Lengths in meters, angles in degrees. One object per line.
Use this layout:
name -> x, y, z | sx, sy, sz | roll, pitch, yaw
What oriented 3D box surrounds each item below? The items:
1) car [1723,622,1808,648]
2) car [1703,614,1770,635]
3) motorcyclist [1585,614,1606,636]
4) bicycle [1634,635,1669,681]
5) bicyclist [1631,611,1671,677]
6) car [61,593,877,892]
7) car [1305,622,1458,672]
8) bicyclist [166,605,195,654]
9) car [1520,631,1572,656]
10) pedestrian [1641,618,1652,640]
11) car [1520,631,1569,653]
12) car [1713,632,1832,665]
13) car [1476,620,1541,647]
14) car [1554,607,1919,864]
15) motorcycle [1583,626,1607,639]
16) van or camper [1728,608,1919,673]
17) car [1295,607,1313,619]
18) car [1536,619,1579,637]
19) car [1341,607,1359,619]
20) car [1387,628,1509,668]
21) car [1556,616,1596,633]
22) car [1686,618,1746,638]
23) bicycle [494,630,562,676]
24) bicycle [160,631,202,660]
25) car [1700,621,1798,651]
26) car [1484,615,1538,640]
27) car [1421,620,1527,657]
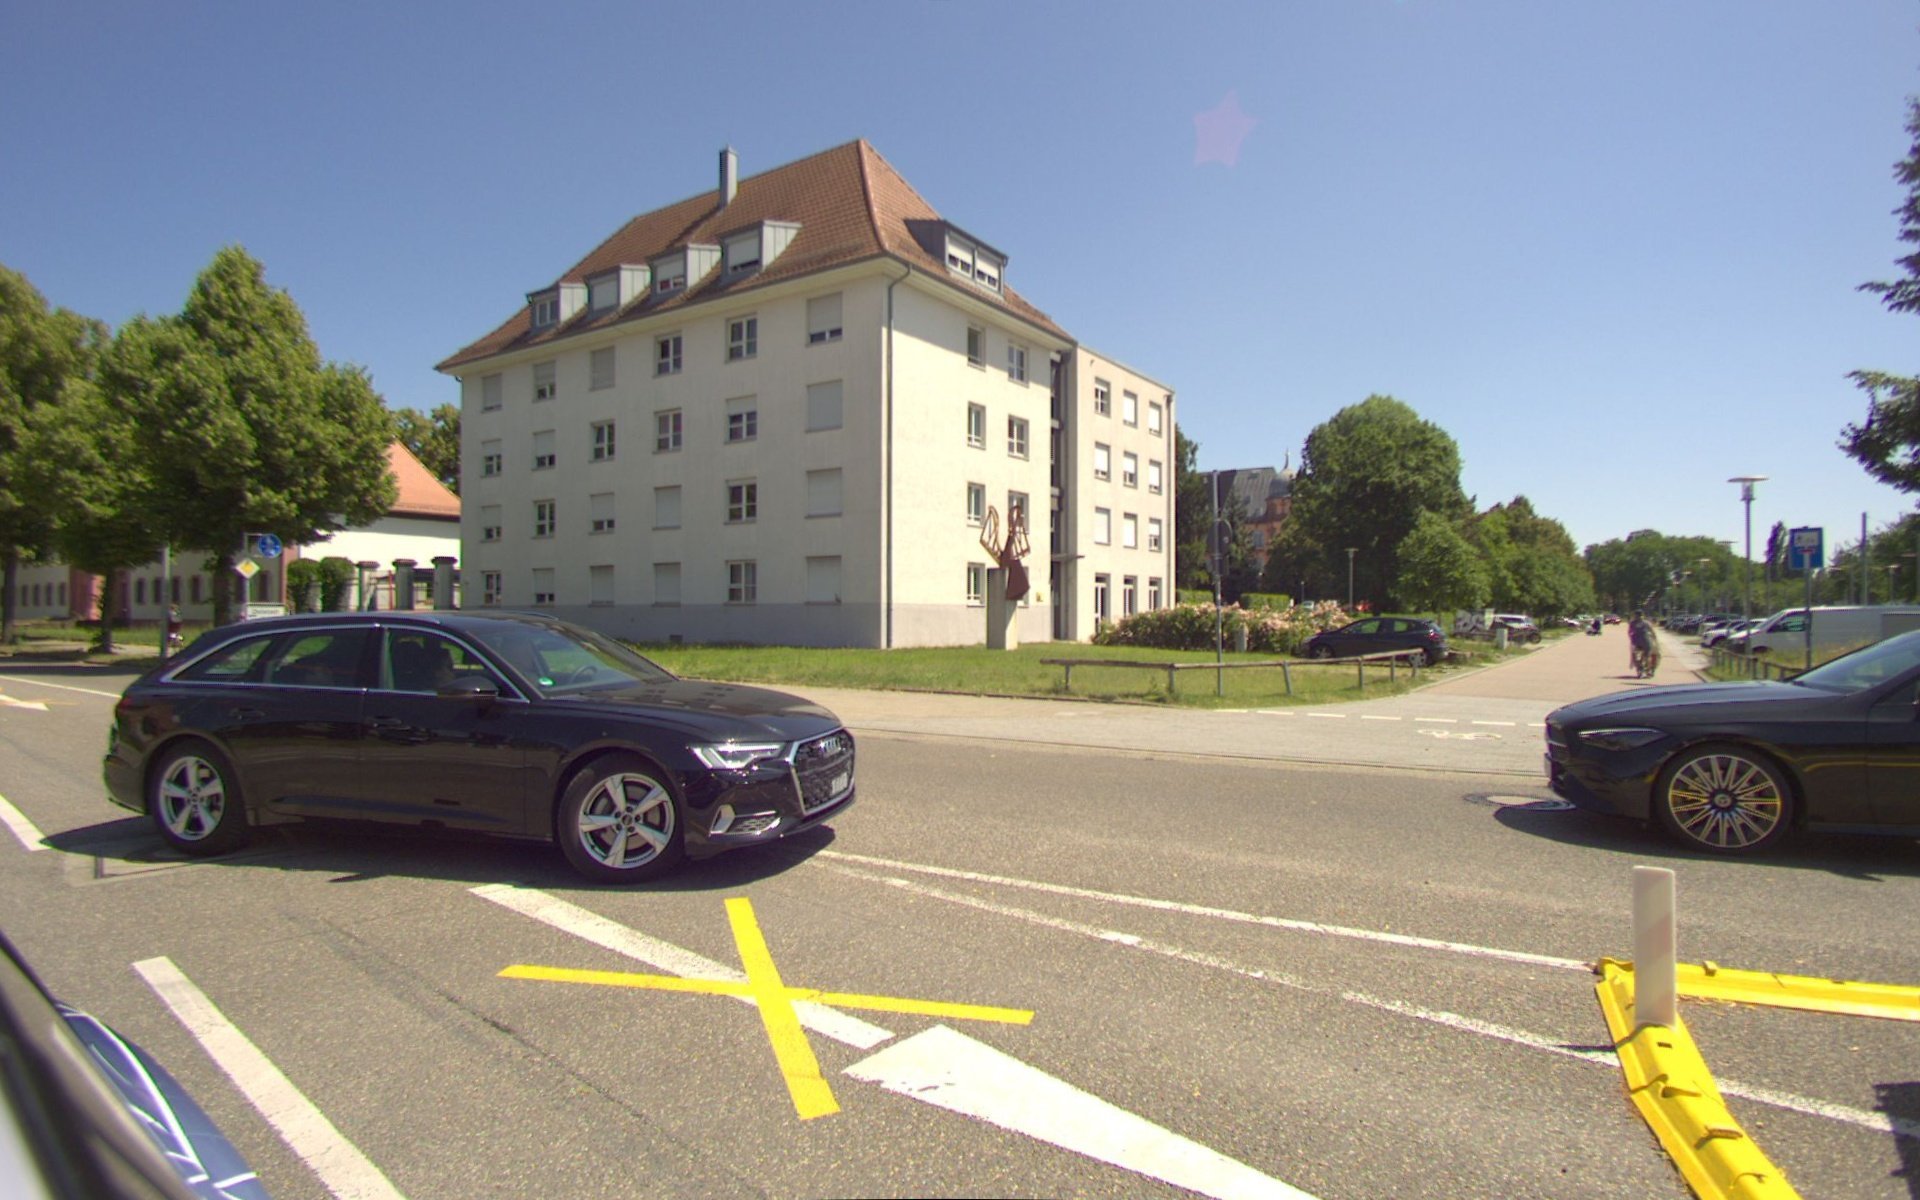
car -> 40.408, 1.744, 50.790 | 3.300, 1.236, 1.399 | -1, -1, 41
car -> 48.256, 1.530, 62.949 | 3.225, 1.291, 1.338 | -1, -1, 41
motorcyclist -> 47.553, 1.839, 75.712 | 1.252, 1.621, 1.423 | -1, -1, 35
bicycle -> 17.954, 1.485, 26.264 | 0.550, 1.121, 1.654 | 2, 0, 41
bicyclist -> 17.948, 1.128, 26.276 | 0.715, 1.650, 0.961 | 2, 0, 41
car -> -2.979, 0.735, 6.395 | 4.573, 1.462, 1.794 | -1, 0, 14
car -> 12.111, 1.310, 29.162 | 3.799, 1.337, 1.640 | -1, -1, 35
bicyclist -> -26.089, 0.990, 33.875 | 0.738, 1.623, 0.562 | -1, -1, 35
car -> 42.331, 3.139, 73.100 | 3.220, 1.718, 1.493 | -1, -1, 31
pedestrian -> 51.149, 2.153, 75.413 | 0.670, 1.677, 1.325 | -1, -1, 34
car -> 36.697, 2.616, 63.542 | 2.528, 1.368, 1.069 | -1, -1, 41
car -> 31.712, 1.865, 39.620 | 3.506, 1.227, 1.340 | -1, -1, 35
car -> 28.348, 1.725, 52.307 | 2.747, 1.367, 1.156 | -1, -1, 42
car -> 6.346, 0.768, 6.078 | 4.608, 1.414, 1.805 | -1, -2, 26
motorcycle -> 47.731, 2.400, 76.059 | 1.368, 0.929, 3.187 | -1, -1, 35
van or camper -> 26.819, 1.186, 30.858 | 5.259, 1.871, 1.977 | -1, -1, 34
car -> 41.589, 1.620, 122.372 | 1.473, 1.427, 2.997 | -1, -1, 30
car -> 69.255, 3.254, 117.311 | 3.998, 2.029, 1.972 | -1, -1, 41
car -> 45.950, 1.570, 119.194 | 1.473, 1.427, 2.997 | -1, -1, 30
car -> 16.291, 1.577, 33.829 | 3.506, 1.227, 1.340 | -1, -1, 35
car -> 77.129, 3.075, 126.720 | 3.998, 2.029, 1.972 | -1, -1, 41
car -> 56.408, 2.095, 75.583 | 3.533, 1.475, 1.530 | -1, -1, 36
bicycle -> -10.616, 1.282, 24.847 | 1.984, 1.032, 0.700 | 0, 2, 41
bicycle -> -26.065, 1.521, 33.850 | 1.904, 0.922, 0.556 | -1, -1, 35
car -> 35.473, 1.610, 45.514 | 3.382, 1.291, 1.338 | -1, -1, 42
car -> 31.057, 1.535, 57.051 | 2.528, 1.368, 1.069 | -1, -1, 41
car -> 21.722, 1.581, 42.801 | 3.799, 1.336, 1.640 | 1, 1, 35
